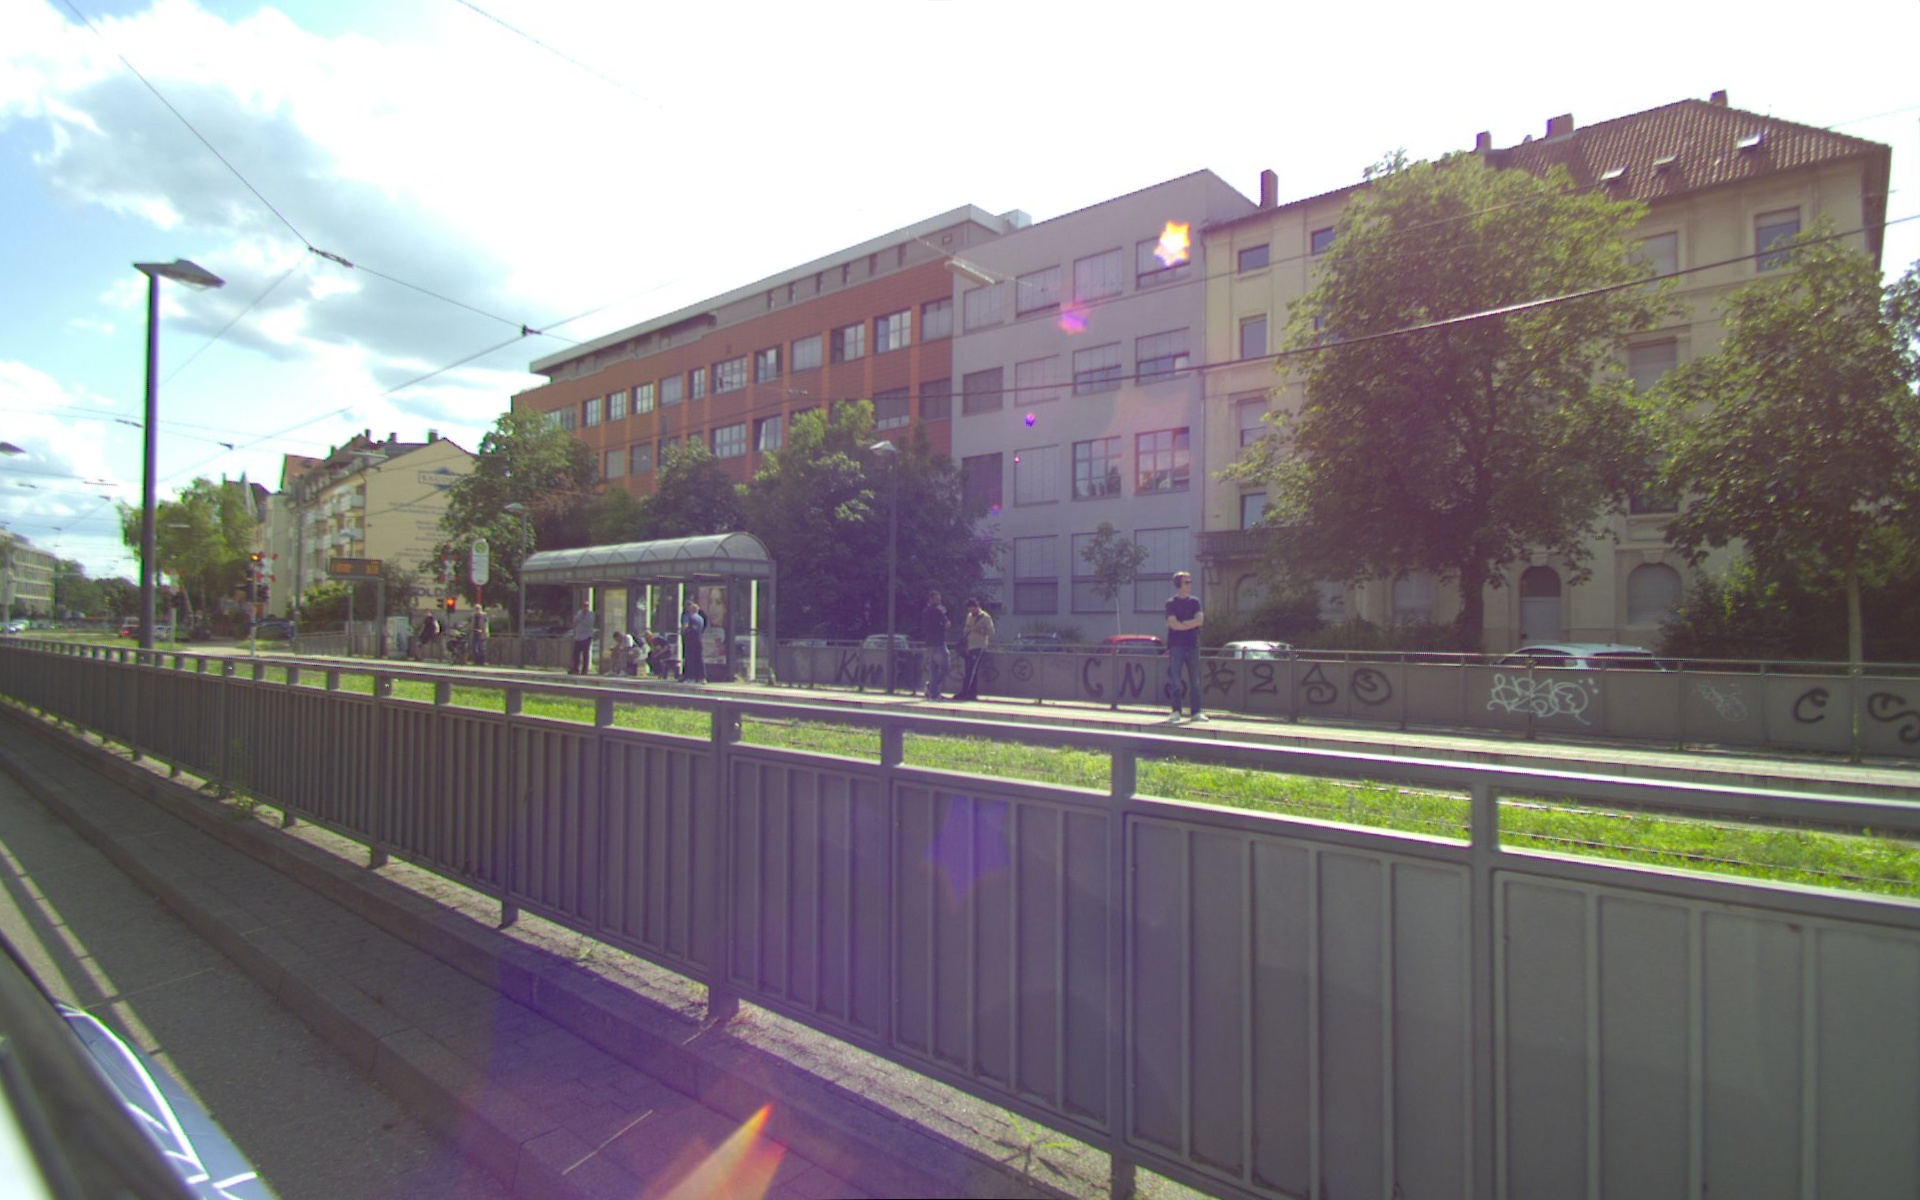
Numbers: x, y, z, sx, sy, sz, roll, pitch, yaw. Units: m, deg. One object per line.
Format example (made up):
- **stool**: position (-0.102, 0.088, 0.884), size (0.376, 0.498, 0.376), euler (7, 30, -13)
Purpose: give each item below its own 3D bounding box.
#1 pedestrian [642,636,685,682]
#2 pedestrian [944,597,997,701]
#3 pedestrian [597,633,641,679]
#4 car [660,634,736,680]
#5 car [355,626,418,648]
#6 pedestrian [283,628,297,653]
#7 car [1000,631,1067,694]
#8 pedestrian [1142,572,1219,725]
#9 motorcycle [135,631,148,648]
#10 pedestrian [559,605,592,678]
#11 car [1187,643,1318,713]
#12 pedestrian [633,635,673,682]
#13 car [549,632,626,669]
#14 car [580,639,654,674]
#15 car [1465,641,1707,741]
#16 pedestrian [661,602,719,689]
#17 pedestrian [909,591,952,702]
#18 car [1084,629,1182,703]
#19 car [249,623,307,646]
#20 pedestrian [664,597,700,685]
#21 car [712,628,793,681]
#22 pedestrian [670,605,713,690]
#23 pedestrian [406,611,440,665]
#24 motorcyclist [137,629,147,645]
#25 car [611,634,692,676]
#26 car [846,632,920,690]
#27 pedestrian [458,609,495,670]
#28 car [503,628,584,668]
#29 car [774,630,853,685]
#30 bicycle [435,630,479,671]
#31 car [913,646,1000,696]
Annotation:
- **pedestrian**: position (-6.644, 1.330, 22.668), size (0.562, 1.002, 0.697), euler (-1, -4, 38)
- **pedestrian**: position (0.176, 0.812, 17.013), size (0.625, 1.687, 0.600), euler (0, -2, 41)
- **pedestrian**: position (-7.896, 1.305, 23.453), size (0.623, 1.039, 0.712), euler (-1, -4, 38)
- **car**: position (-9.257, 1.982, 35.991), size (1.652, 1.420, 3.063), euler (2, 0, 5)
- **car**: position (-40.502, 2.628, 71.496), size (3.557, 1.491, 1.777), euler (2, -6, -42)
- **pedestrian**: position (-45.788, 2.762, 69.148), size (0.481, 1.723, 0.641), euler (-2, -3, 42)
- **car**: position (2.031, 1.615, 27.169), size (1.590, 1.580, 3.990), euler (0, -2, 7)
- **pedestrian**: position (2.848, 0.602, 13.075), size (0.639, 1.906, 0.742), euler (1, -1, 43)
- **motorcycle**: position (-73.744, 3.534, 91.180), size (2.010, 1.414, 0.626), euler (0, 0, 44)
- **pedestrian**: position (-9.250, 0.987, 24.360), size (0.623, 1.739, 0.481), euler (-1, -2, 39)
- **car**: position (6.514, 1.694, 22.996), size (1.791, 1.402, 4.022), euler (-1, -2, 1)
- **pedestrian**: position (-7.045, 1.343, 23.233), size (0.562, 1.039, 0.647), euler (-1, -4, 38)
- **car**: position (-15.950, 2.137, 43.504), size (1.630, 1.508, 3.995), euler (0, -2, 4)
- **car**: position (-13.700, 2.246, 40.597), size (1.584, 1.314, 3.246), euler (0, -2, 6)
- **car**: position (11.302, 1.575, 18.684), size (1.900, 1.576, 4.152), euler (1, -2, 0)
- **pedestrian**: position (-5.568, 0.924, 20.835), size (1.035, 1.756, 0.626), euler (-1, -3, 39)
- **pedestrian**: position (-0.490, 0.758, 16.587), size (0.599, 1.767, 0.626), euler (1, -2, -8)
- **car**: position (4.225, 1.579, 25.282), size (1.810, 1.652, 4.134), euler (1, -2, 2)
- **car**: position (-62.731, 3.173, 93.078), size (4.194, 2.029, 2.003), euler (2, -3, -40)
- **pedestrian**: position (-5.968, 0.875, 21.719), size (0.623, 1.841, 0.438), euler (-1, -3, 39)
- **car**: position (-7.127, 1.862, 35.101), size (1.652, 1.652, 3.993), euler (2, -2, 5)
- **pedestrian**: position (-5.323, 0.936, 20.083), size (0.556, 1.645, 0.593), euler (-1, -3, 27)
- **pedestrian**: position (-17.369, 1.231, 32.713), size (0.798, 1.712, 0.659), euler (0, -2, 39)
- **motorcyclist**: position (-73.735, 3.345, 91.196), size (0.693, 1.368, 0.654), euler (0, -1, 44)
- **car**: position (-11.622, 2.046, 38.306), size (1.568, 1.431, 3.301), euler (0, 0, 11)
- **car**: position (-2.280, 1.807, 30.906), size (1.651, 1.540, 3.995), euler (-1, 0, 4)
- **pedestrian**: position (-13.884, 1.131, 29.085), size (0.798, 1.737, 0.632), euler (0, -2, 39)
- **car**: position (-18.161, 2.068, 44.301), size (1.850, 1.671, 3.840), euler (0, -2, 2)
- **car**: position (-4.655, 1.820, 32.706), size (1.652, 1.540, 3.994), euler (-1, 0, 5)
- **bicycle**: position (-14.335, 1.429, 28.819), size (0.653, 1.122, 1.880), euler (4, -4, -40)
- **car**: position (-0.020, 2.025, 29.521), size (1.774, 1.159, 3.985), euler (-1, 0, 12)
